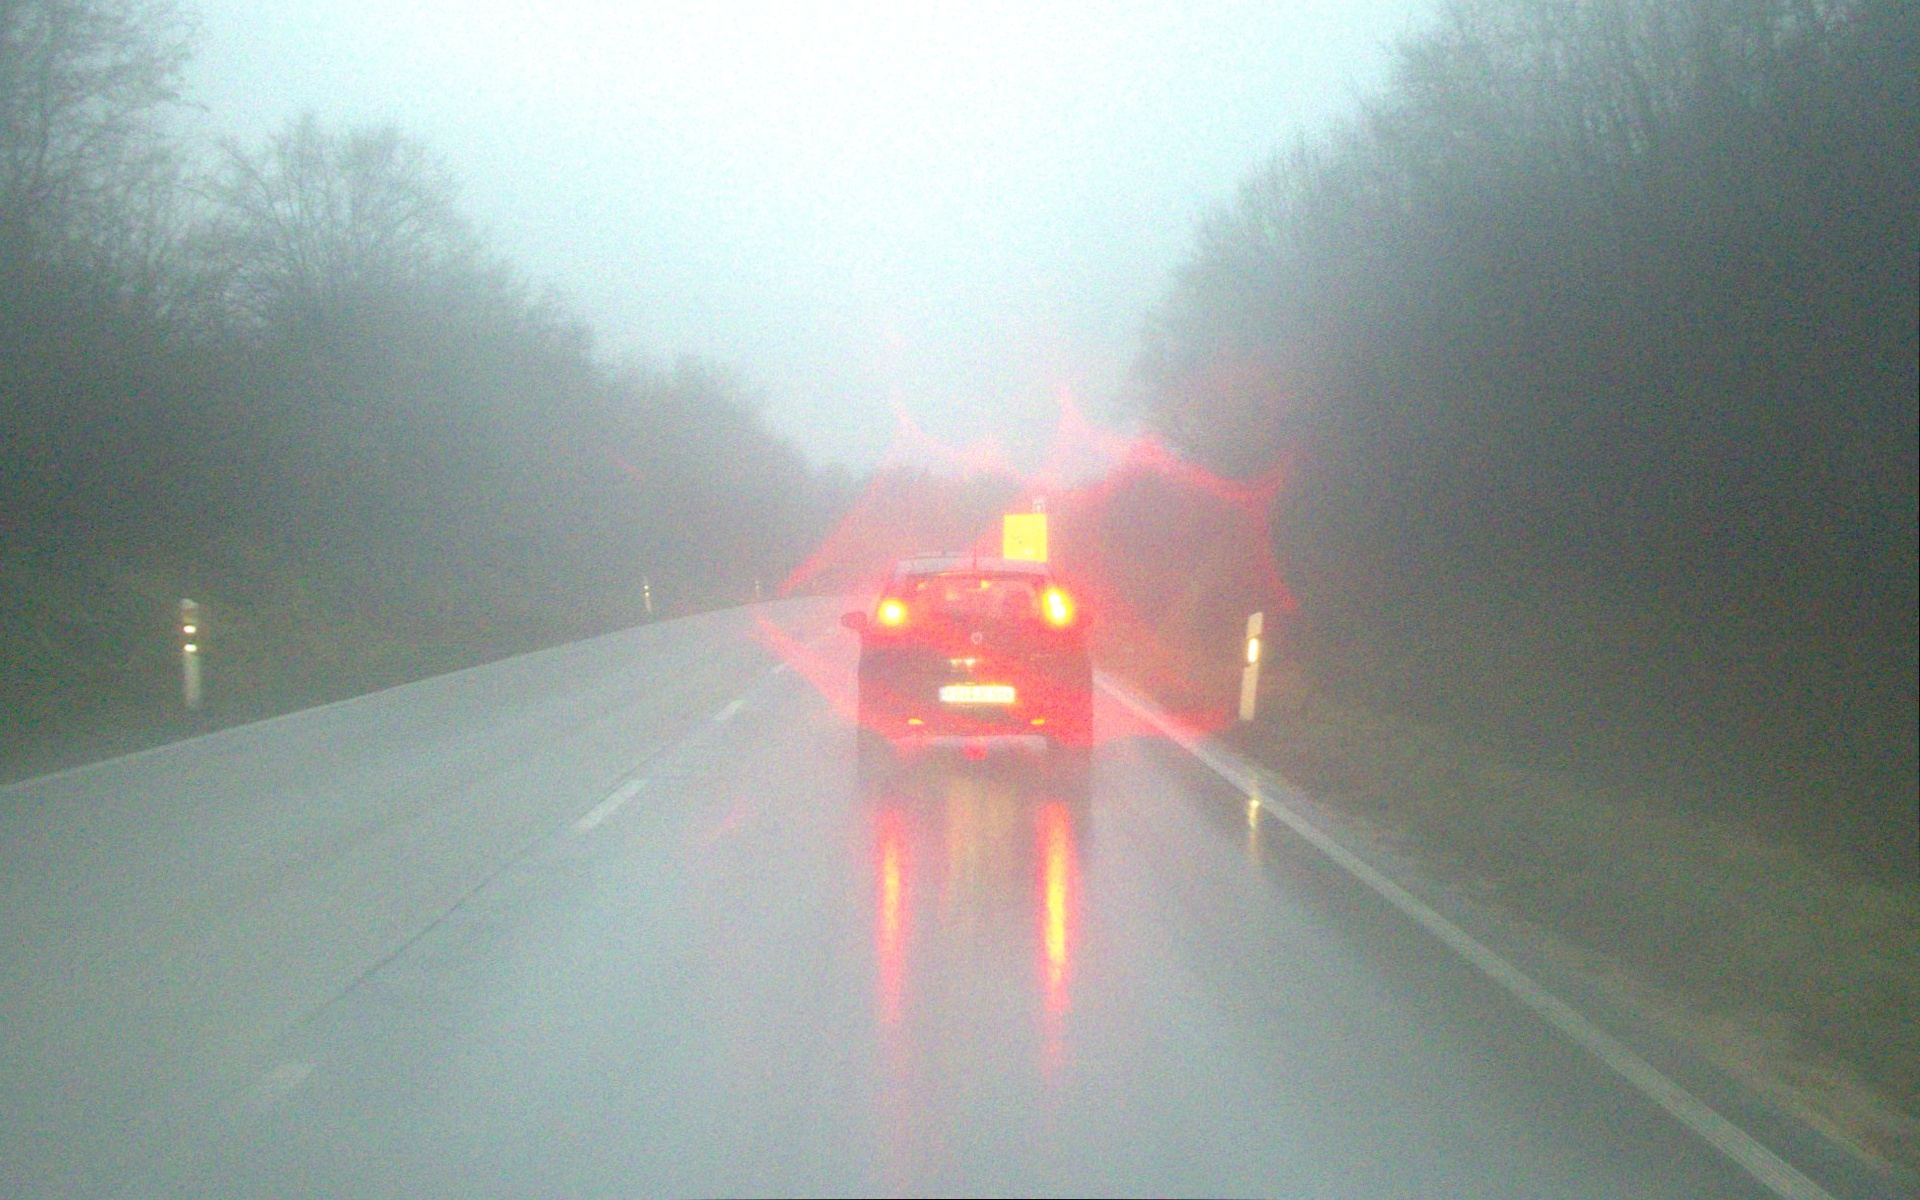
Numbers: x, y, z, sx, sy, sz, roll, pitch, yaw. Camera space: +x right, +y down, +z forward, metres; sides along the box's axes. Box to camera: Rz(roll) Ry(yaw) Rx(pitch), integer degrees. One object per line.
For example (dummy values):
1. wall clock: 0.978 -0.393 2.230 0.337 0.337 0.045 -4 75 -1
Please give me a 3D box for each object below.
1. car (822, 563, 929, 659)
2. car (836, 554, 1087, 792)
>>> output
1. car: -1.458 0.170 60.574 1.728 1.638 4.000 0 0 1
2. car: 0.034 0.481 25.680 1.728 1.638 4.000 0 0 1
